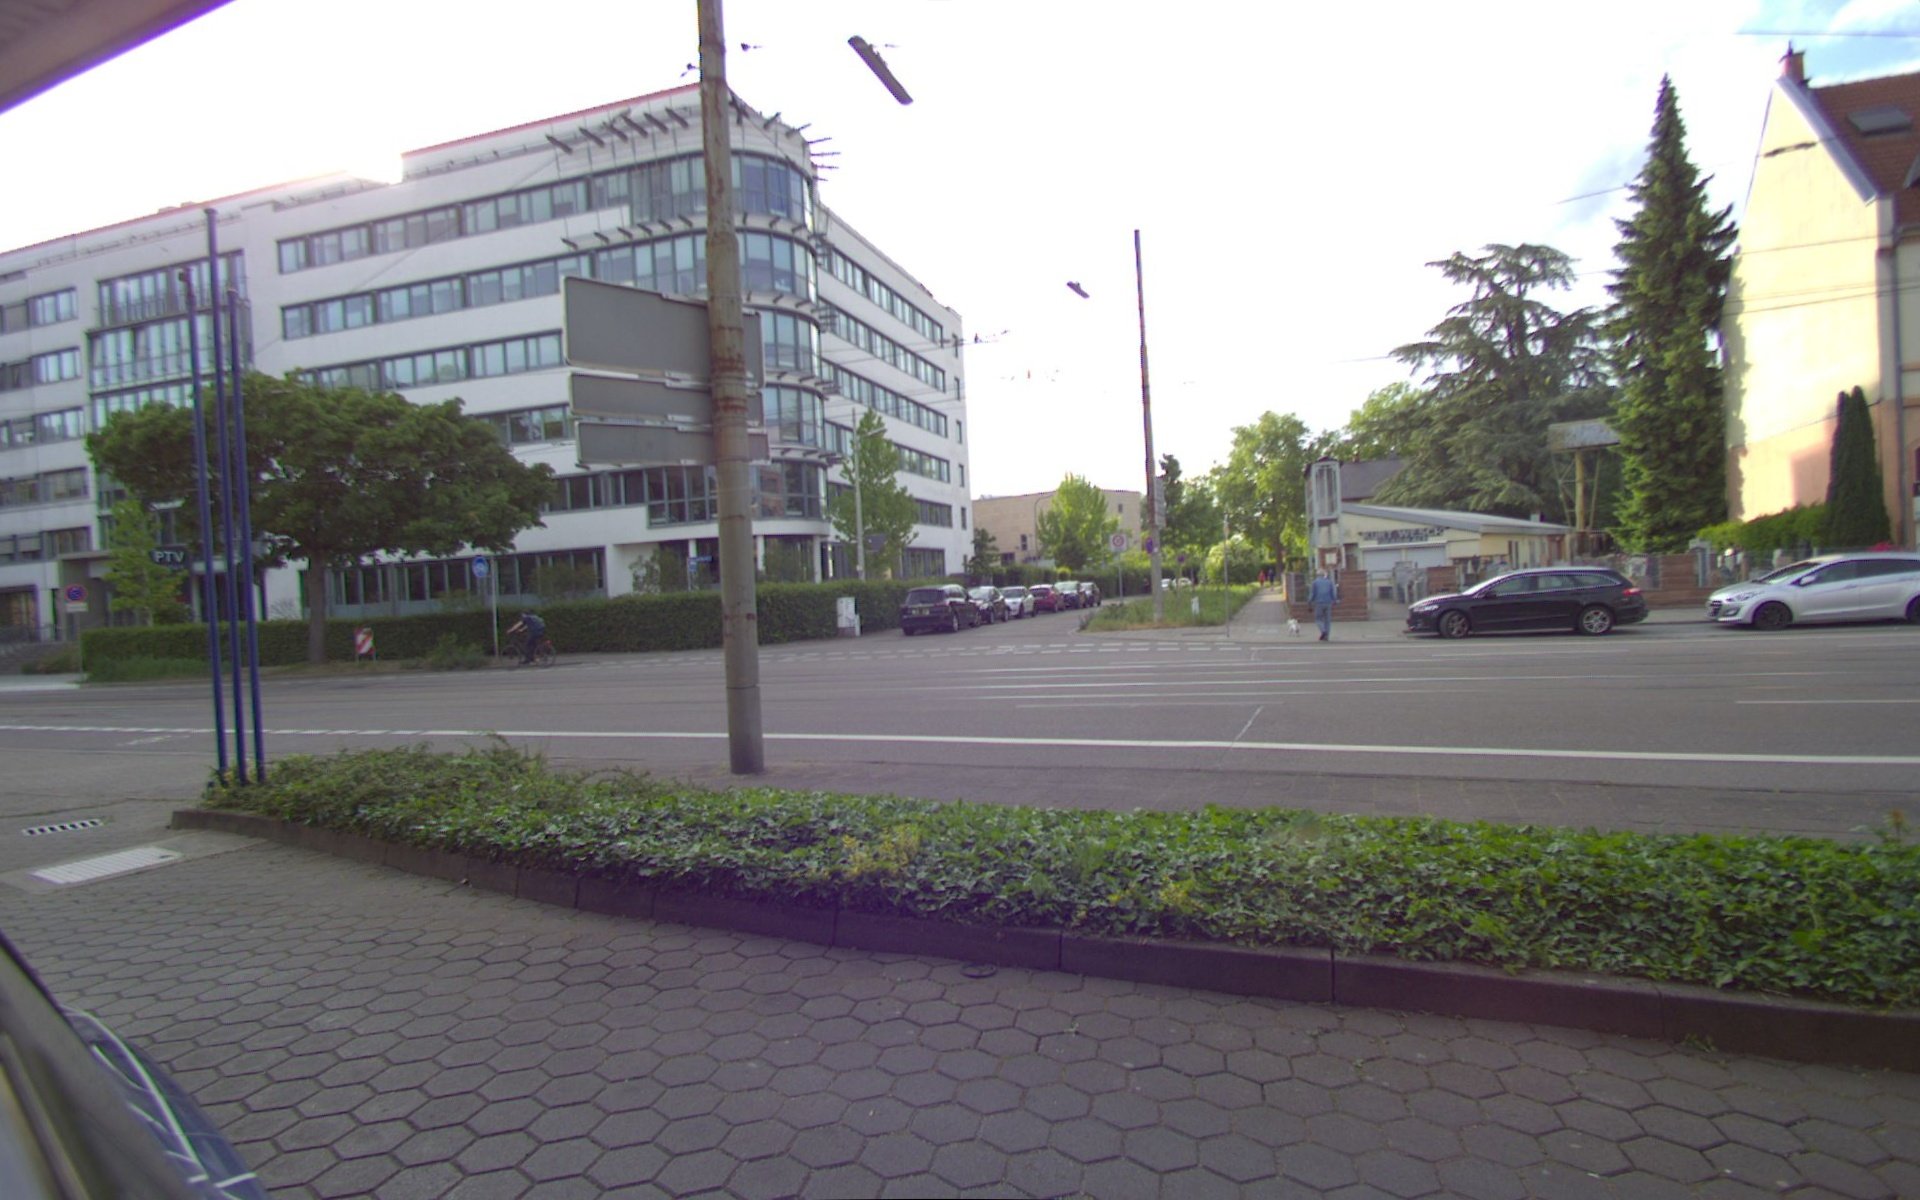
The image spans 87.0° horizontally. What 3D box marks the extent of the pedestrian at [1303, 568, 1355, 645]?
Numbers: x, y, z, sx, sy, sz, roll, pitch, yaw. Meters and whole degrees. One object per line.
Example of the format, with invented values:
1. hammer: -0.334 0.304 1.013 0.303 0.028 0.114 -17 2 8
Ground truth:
1. pedestrian: 8.648 0.141 23.774 0.899 1.712 0.923 -3 2 8

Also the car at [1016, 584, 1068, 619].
1. car: 4.297 0.038 52.407 1.807 1.589 4.175 -4 0 16

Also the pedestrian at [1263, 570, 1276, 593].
1. pedestrian: 25.474 -1.527 83.201 0.965 1.896 1.056 -1 0 17

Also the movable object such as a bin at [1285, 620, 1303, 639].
1. movable object such as a bin: 8.485 0.745 25.703 0.363 0.397 0.660 -3 2 13

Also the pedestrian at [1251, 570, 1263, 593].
1. pedestrian: 24.500 -1.515 83.491 0.965 1.896 1.056 -1 0 17

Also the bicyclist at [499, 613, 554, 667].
1. bicyclist: -12.261 1.125 28.623 1.164 1.462 0.788 -2 -1 11

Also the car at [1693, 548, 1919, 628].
1. car: 18.402 -0.260 21.396 4.349 1.493 1.732 -3 1 22

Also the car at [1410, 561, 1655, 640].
1. car: 13.008 0.016 23.366 4.632 1.533 1.842 -3 2 22

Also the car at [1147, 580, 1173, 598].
1. car: 19.958 -1.101 100.906 1.811 1.654 4.044 -4 0 22

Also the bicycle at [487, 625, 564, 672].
1. bicycle: -12.294 1.382 28.655 1.863 1.248 0.788 -2 -1 12

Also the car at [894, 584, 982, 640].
1. car: -0.691 0.366 35.566 1.807 1.701 4.370 -4 1 16

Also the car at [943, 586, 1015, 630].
1. car: 0.827 0.281 40.981 1.807 1.589 4.175 -4 0 16

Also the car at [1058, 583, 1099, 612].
1. car: 7.383 -0.194 62.570 1.807 1.586 4.052 -4 0 16

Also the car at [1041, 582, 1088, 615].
1. car: 6.028 -0.119 57.804 1.807 1.704 4.392 -4 0 16

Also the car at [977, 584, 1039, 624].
1. car: 2.220 0.164 45.685 1.807 1.589 4.175 -4 0 16

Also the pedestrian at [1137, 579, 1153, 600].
1. pedestrian: 16.905 -0.955 92.648 1.046 1.896 0.974 -1 0 -44

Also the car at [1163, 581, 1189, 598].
1. car: 22.835 -1.119 106.853 1.813 1.654 4.040 -4 0 25
